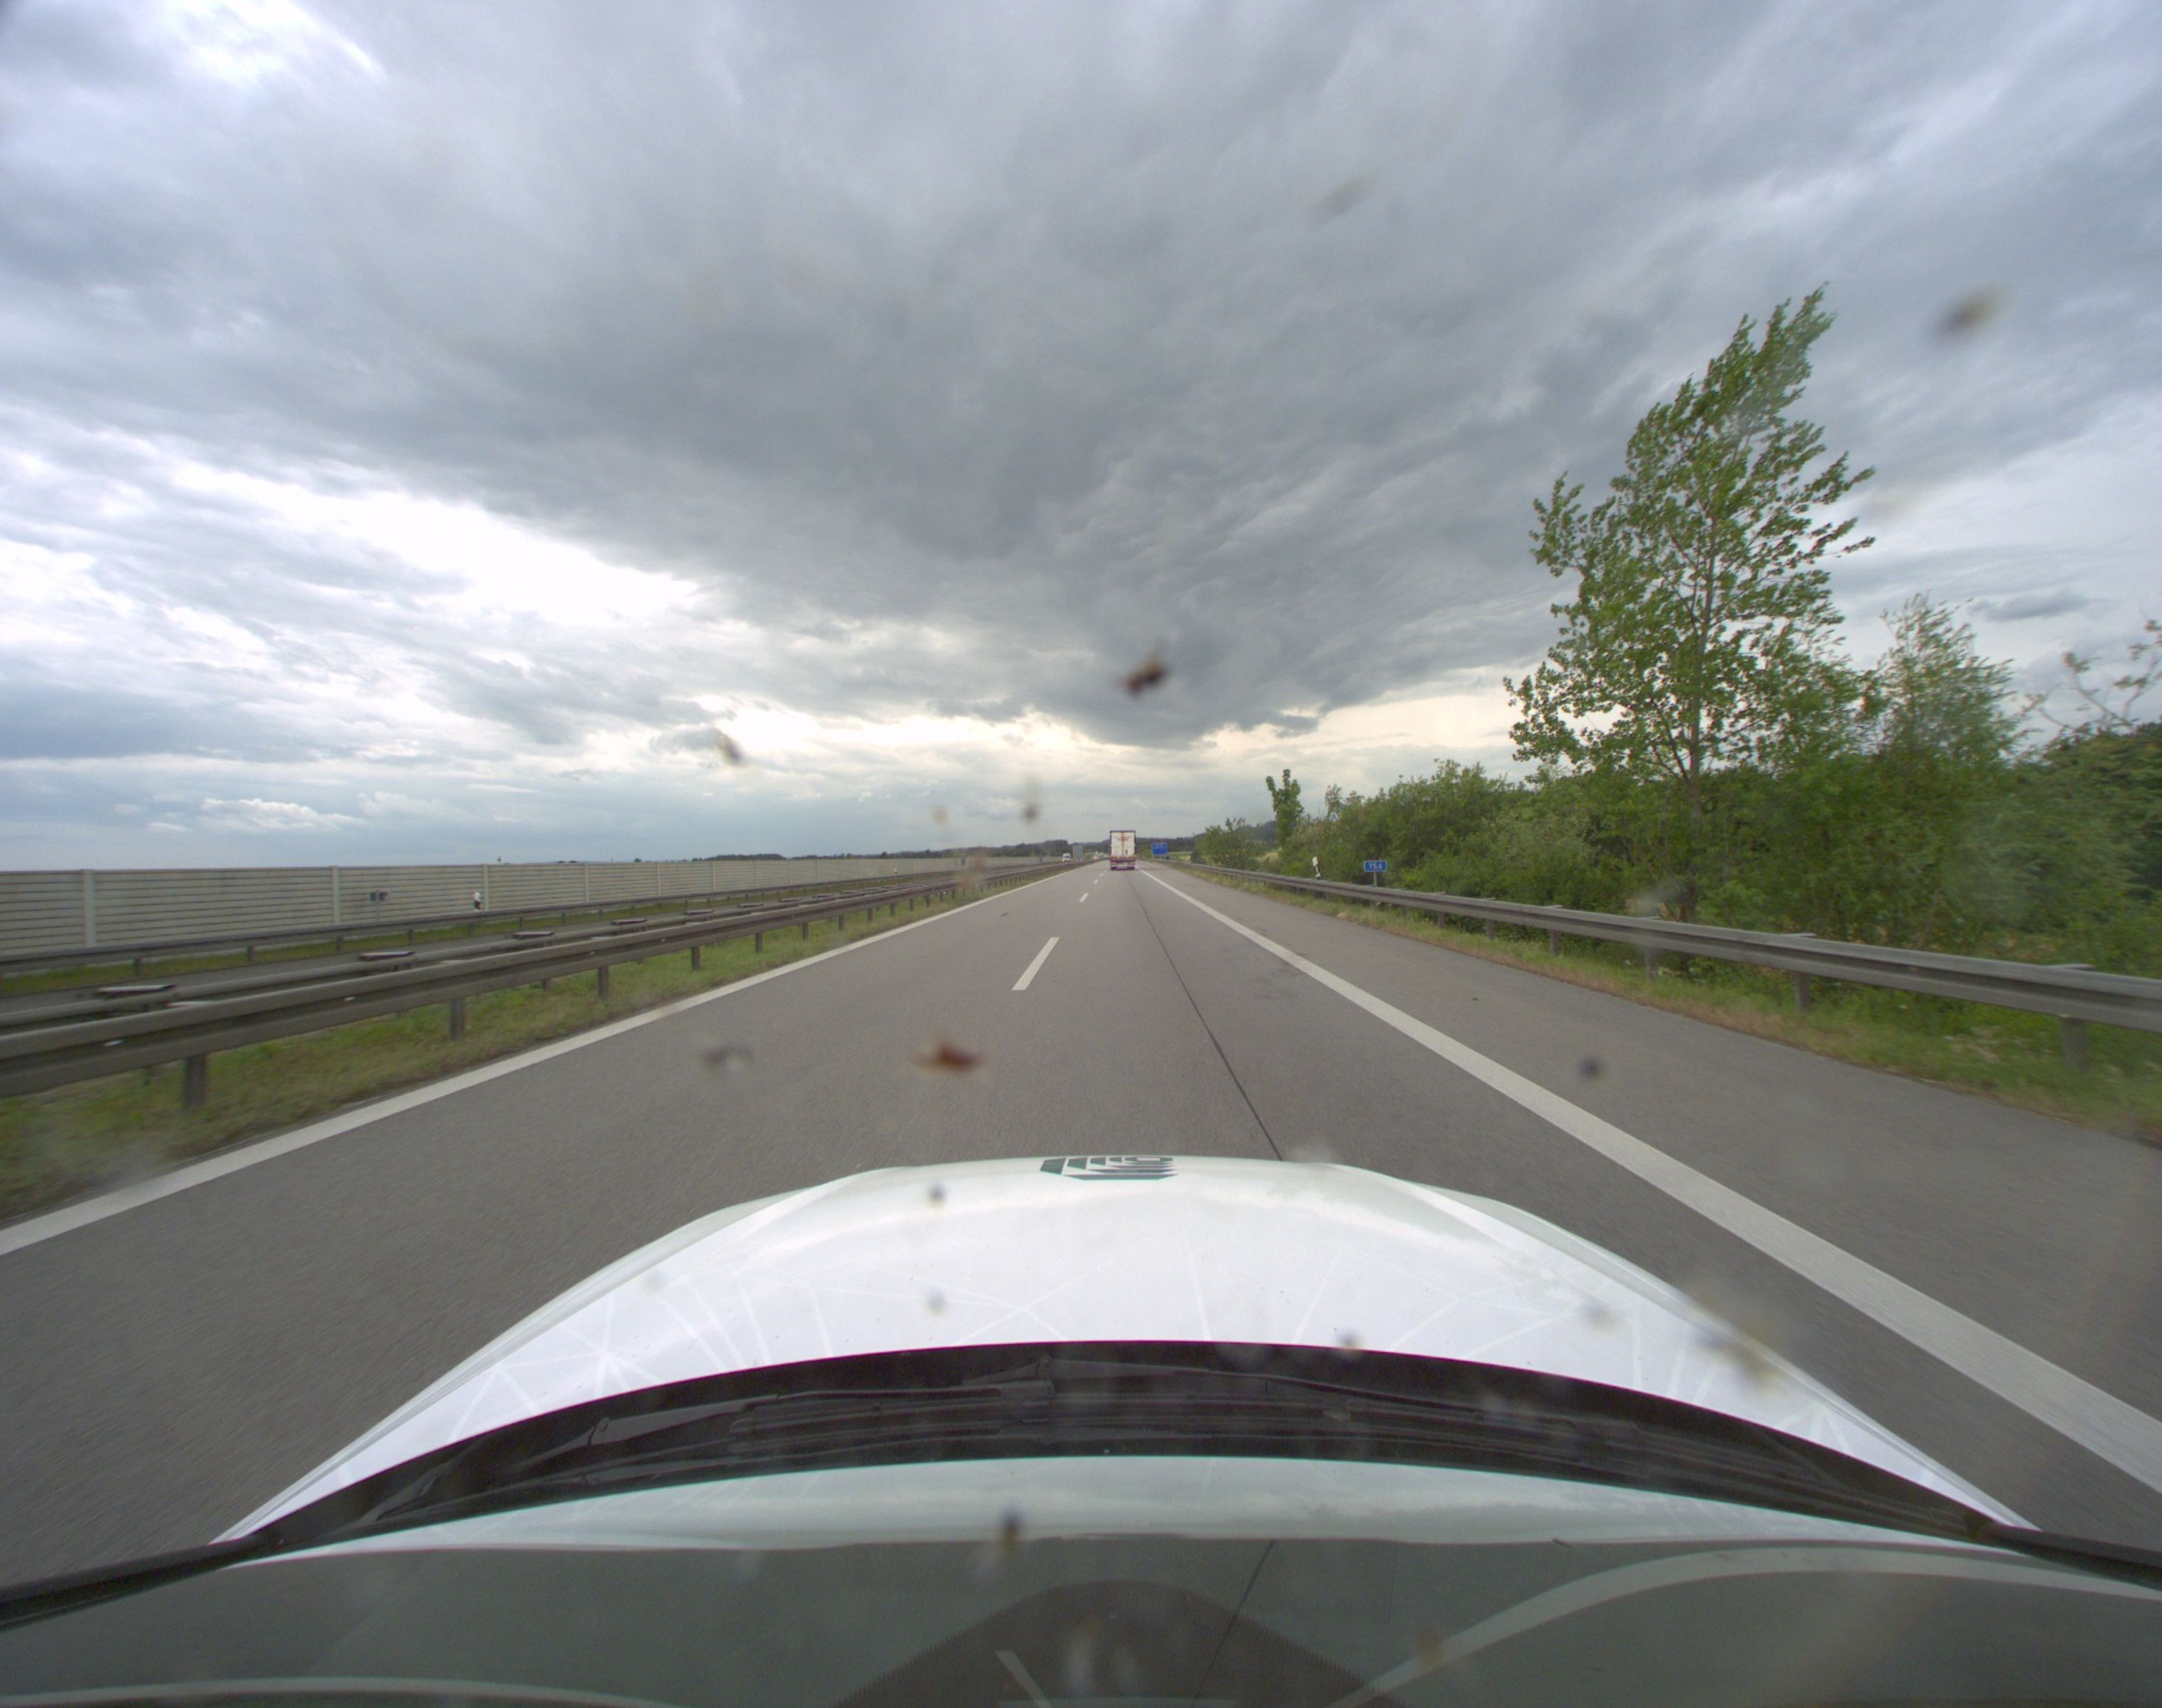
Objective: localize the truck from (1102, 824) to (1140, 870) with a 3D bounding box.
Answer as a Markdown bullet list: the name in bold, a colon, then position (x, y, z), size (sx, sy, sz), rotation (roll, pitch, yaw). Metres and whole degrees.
- **truck**: position (4.241, -0.701, 89.582), size (3.658, 4.412, 16.347), rotation (-2, 0, 2)

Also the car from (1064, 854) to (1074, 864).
- **car**: position (-3.014, 1.311, 212.751), size (2.062, 2.602, 6.292), rotation (-5, -1, 2)
